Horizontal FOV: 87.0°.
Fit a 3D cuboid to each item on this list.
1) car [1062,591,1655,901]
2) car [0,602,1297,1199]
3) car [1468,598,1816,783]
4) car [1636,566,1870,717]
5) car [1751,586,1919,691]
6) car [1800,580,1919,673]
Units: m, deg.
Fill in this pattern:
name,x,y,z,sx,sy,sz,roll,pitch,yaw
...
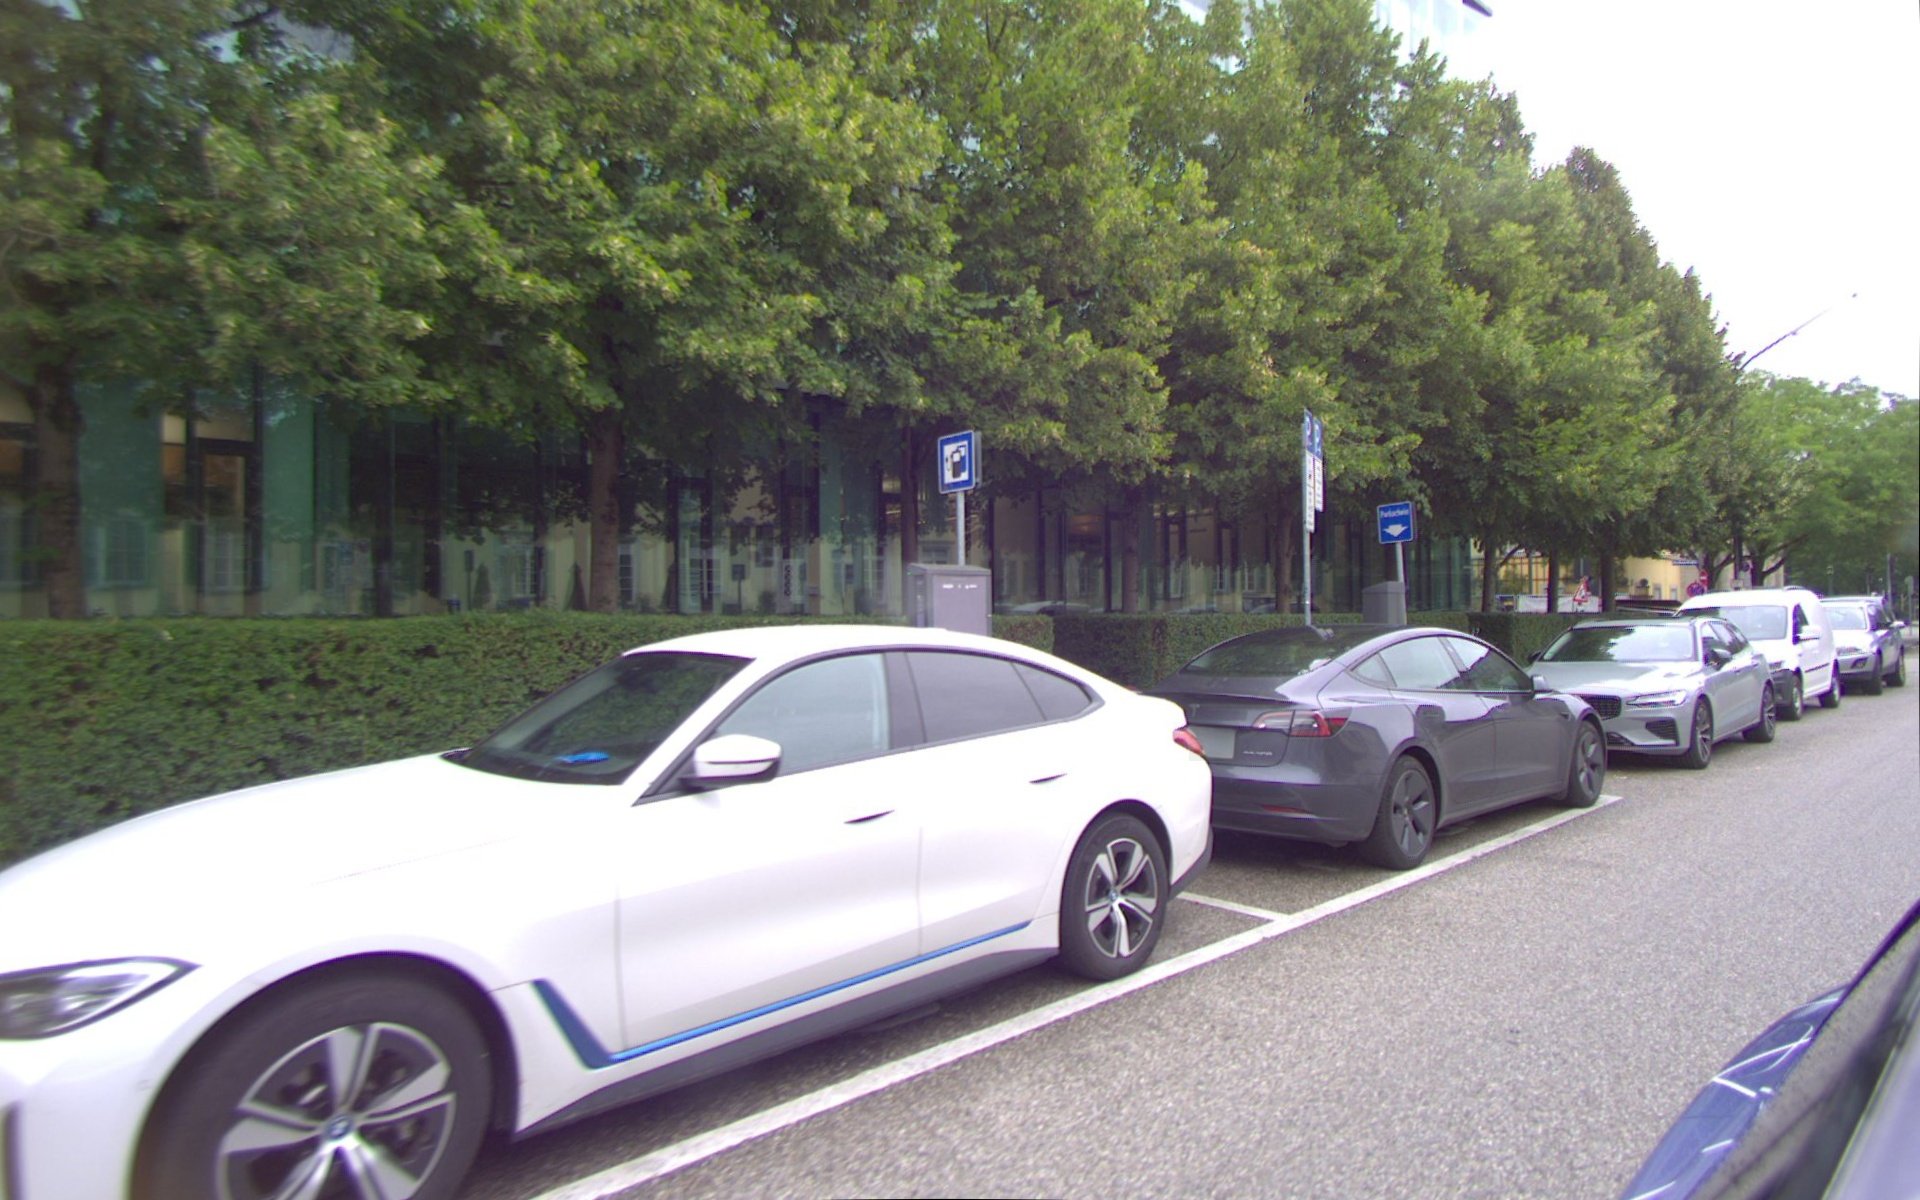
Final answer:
name,x,y,z,sx,sy,sz,roll,pitch,yaw
car,3.146,0.766,7.452,4.763,1.572,1.966,0,-2,-39
car,-0.890,0.797,3.918,4.872,1.479,1.996,0,-2,-42
car,7.632,0.810,11.106,4.918,1.572,1.949,0,-2,-42
car,11.875,0.551,15.043,4.493,1.920,1.787,0,-2,-40
car,16.454,0.650,18.809,4.702,1.713,1.870,0,-2,-42
car,19.807,0.557,22.057,4.276,1.831,1.810,0,-2,-44
